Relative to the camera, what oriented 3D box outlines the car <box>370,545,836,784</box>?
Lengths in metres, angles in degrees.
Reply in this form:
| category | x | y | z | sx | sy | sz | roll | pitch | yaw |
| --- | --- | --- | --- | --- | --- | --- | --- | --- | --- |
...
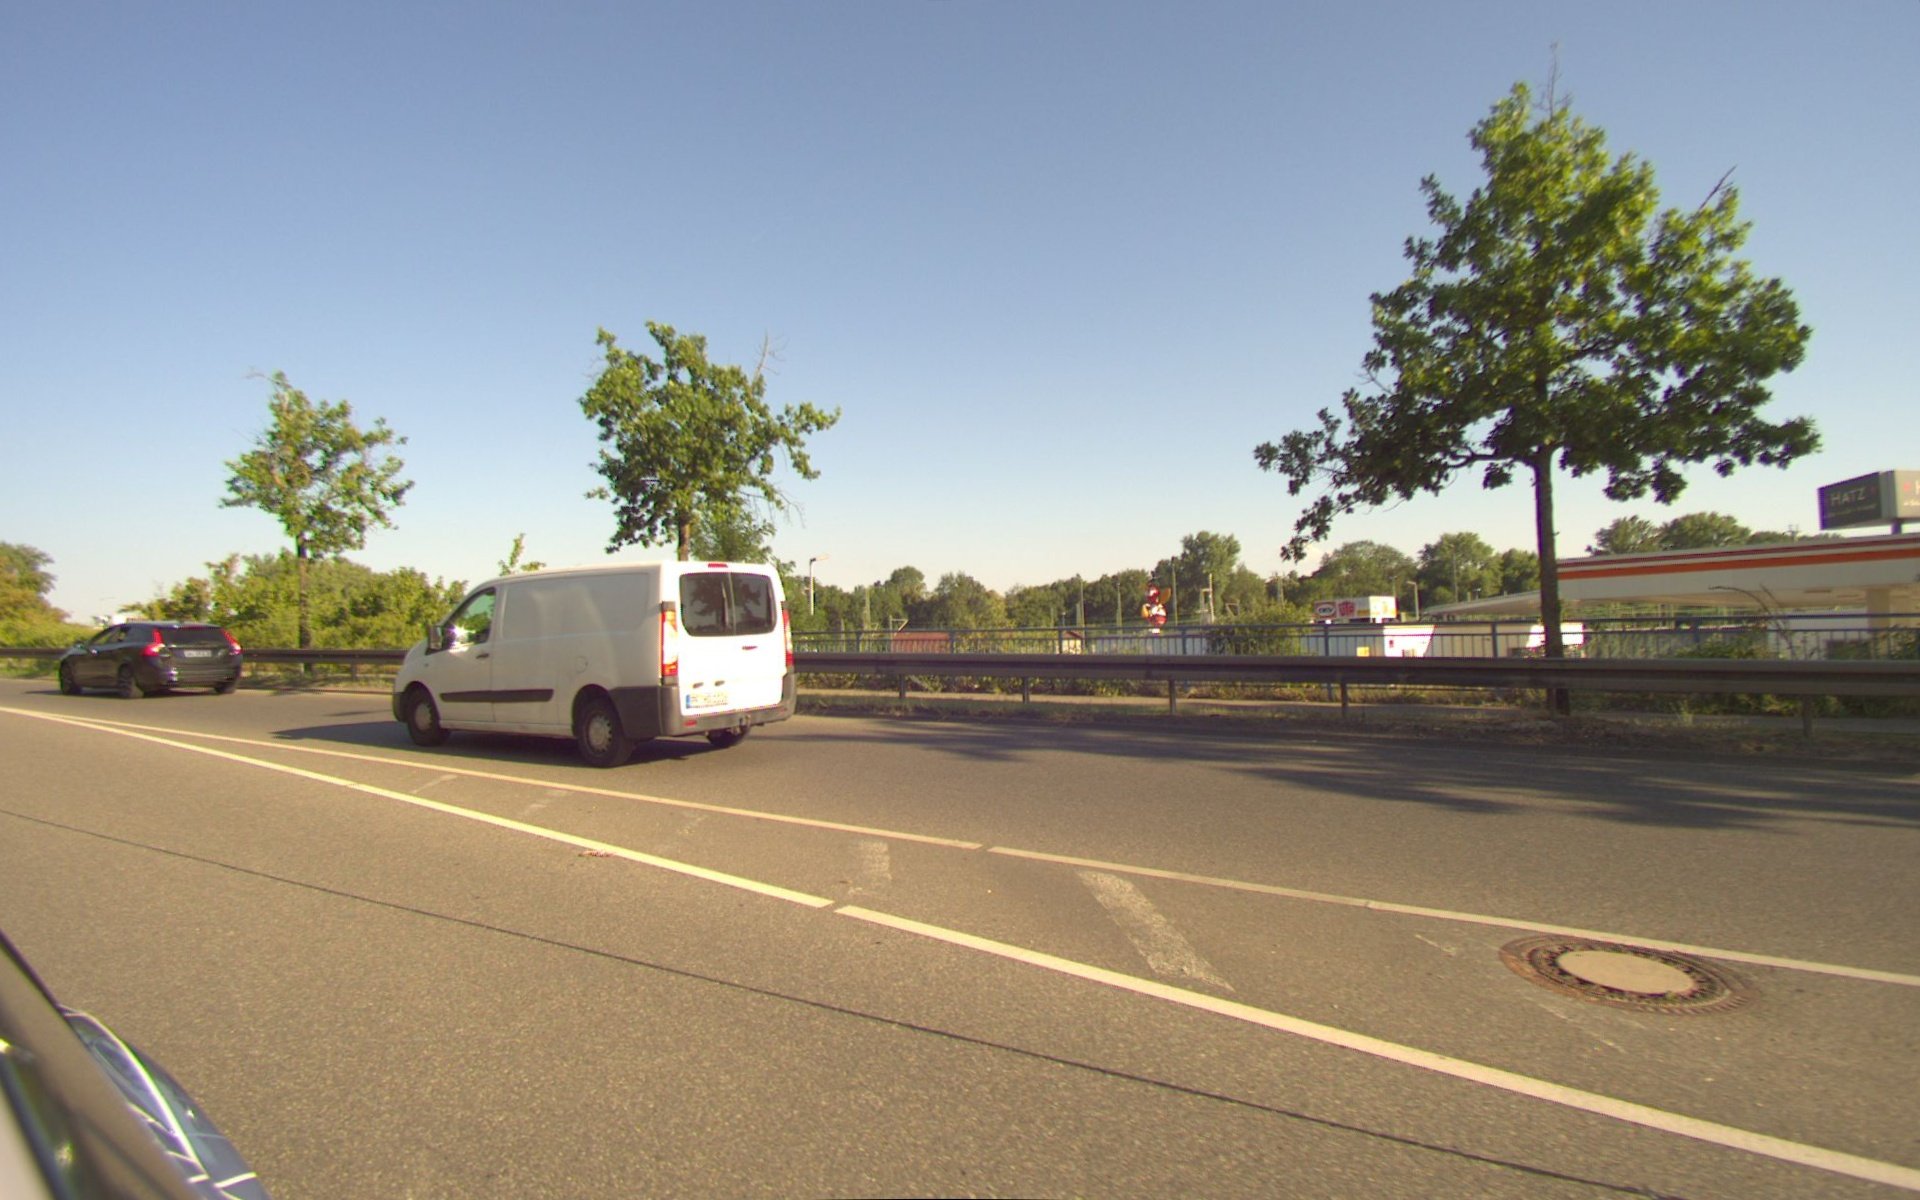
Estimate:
| category | x | y | z | sx | sy | sz | roll | pitch | yaw |
| --- | --- | --- | --- | --- | --- | --- | --- | --- | --- |
| car | -3.952 | 0.571 | 10.787 | 5.244 | 2.029 | 1.863 | -1 | 0 | 33 |

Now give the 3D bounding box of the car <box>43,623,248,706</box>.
| category | x | y | z | sx | sy | sz | roll | pitch | yaw |
| --- | --- | --- | --- | --- | --- | --- | --- | --- | --- |
| car | -16.199 | 1.216 | 20.084 | 4.366 | 1.477 | 1.760 | -1 | -1 | 30 |

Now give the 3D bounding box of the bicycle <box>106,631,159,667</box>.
| category | x | y | z | sx | sy | sz | roll | pitch | yaw |
| --- | --- | --- | --- | --- | --- | --- | --- | --- | --- |
| bicycle | -26.407 | 1.555 | 32.291 | 2.305 | 1.085 | 0.578 | -1 | -3 | 32 |

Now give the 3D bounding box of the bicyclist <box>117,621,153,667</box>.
| category | x | y | z | sx | sy | sz | roll | pitch | yaw |
| --- | --- | --- | --- | --- | --- | --- | --- | --- | --- |
| bicyclist | -26.310 | 1.401 | 32.274 | 0.826 | 1.470 | 0.595 | -1 | -3 | 32 |
